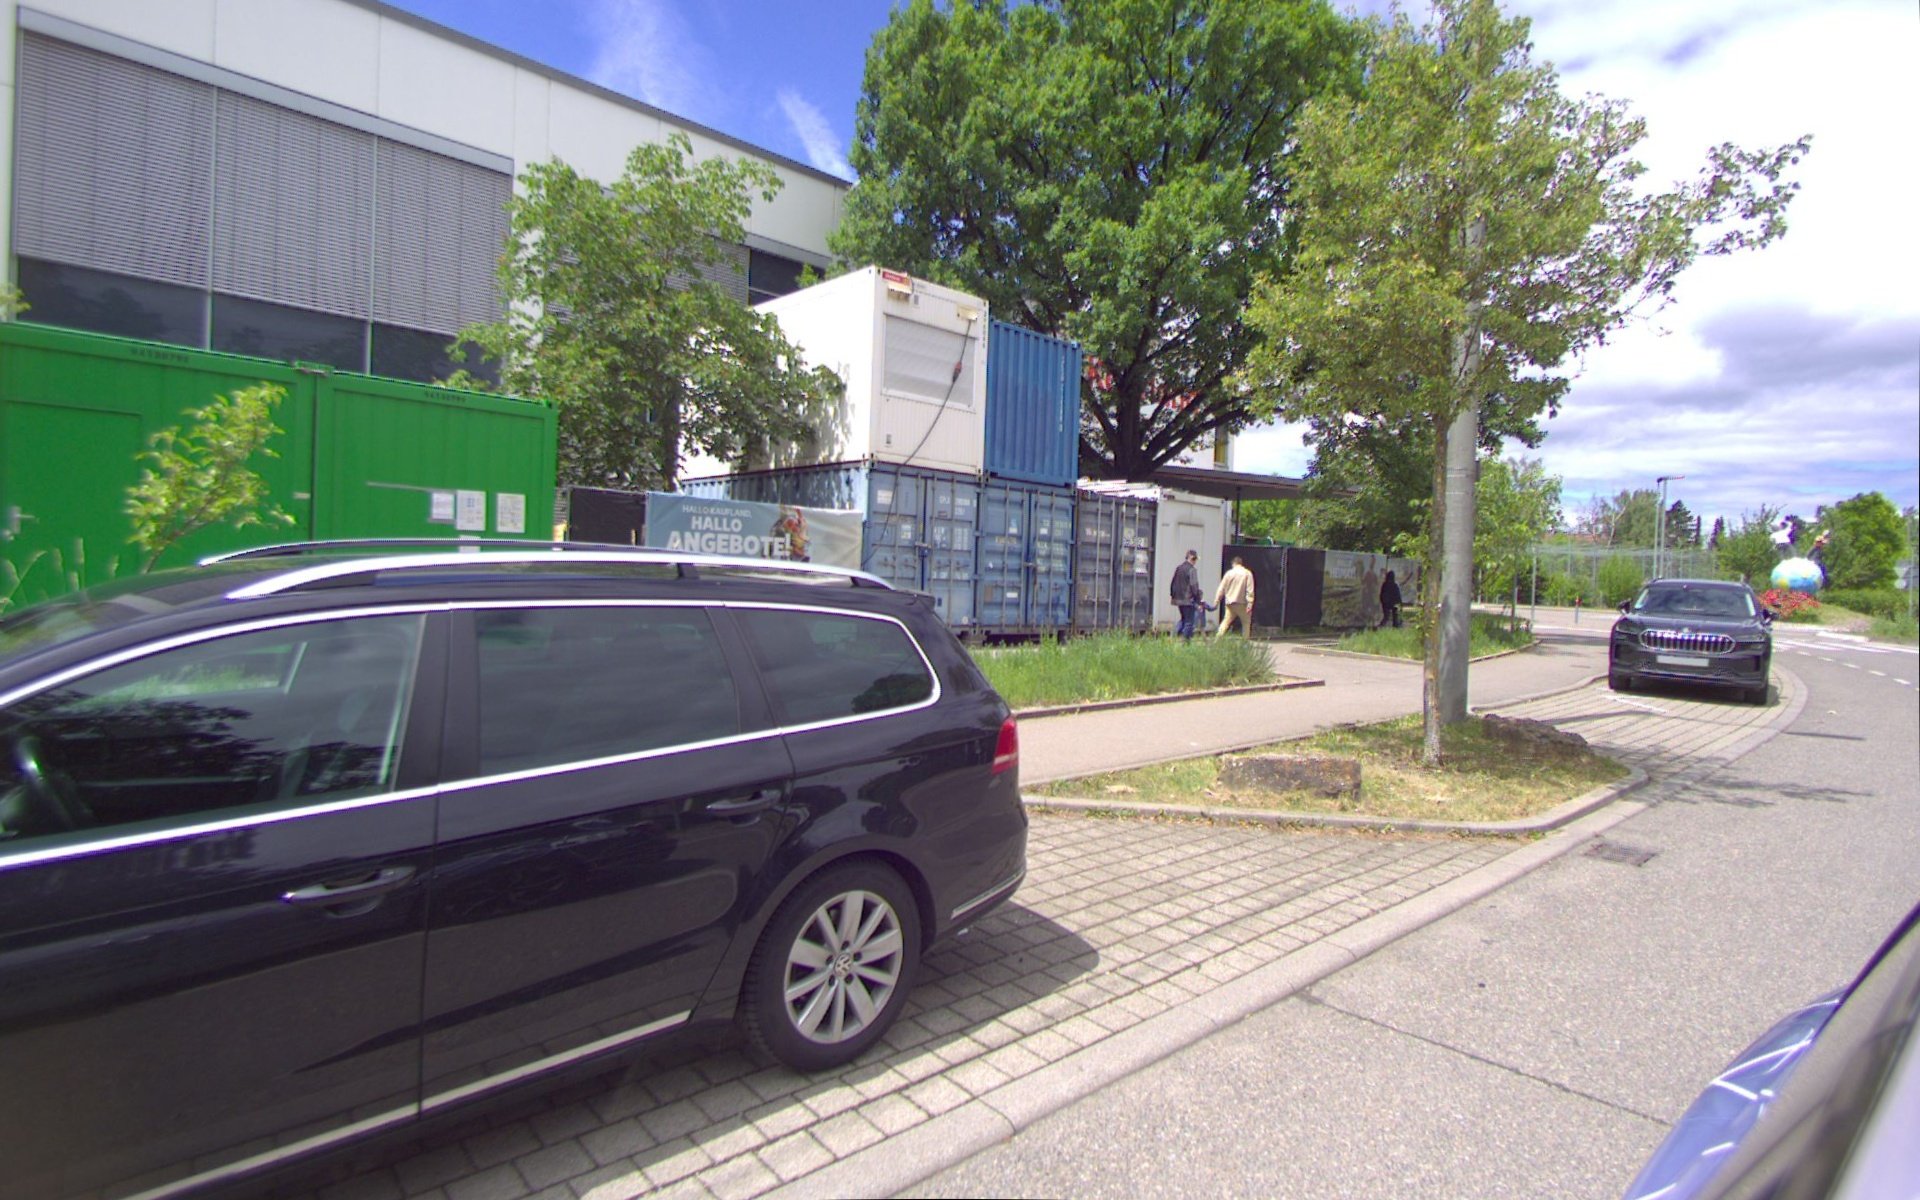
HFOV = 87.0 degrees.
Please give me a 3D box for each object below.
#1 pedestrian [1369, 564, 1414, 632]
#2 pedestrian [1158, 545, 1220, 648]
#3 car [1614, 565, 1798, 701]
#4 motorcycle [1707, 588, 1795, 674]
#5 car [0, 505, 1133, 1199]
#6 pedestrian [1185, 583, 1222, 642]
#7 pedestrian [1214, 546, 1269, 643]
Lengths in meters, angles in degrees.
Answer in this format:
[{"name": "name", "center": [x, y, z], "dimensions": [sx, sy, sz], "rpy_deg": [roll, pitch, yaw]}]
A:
[{"name": "pedestrian", "center": [10.619, -0.065, 24.883], "dimensions": [0.755, 1.638, 0.743], "rpy_deg": [0, 2, -43]}, {"name": "pedestrian", "center": [3.947, -0.070, 17.426], "dimensions": [0.830, 1.718, 0.652], "rpy_deg": [0, 2, -43]}, {"name": "car", "center": [11.331, 0.371, 15.277], "dimensions": [1.876, 1.641, 4.778], "rpy_deg": [5, 4, 39]}, {"name": "motorcycle", "center": [13.965, 0.498, 17.924], "dimensions": [1.069, 1.321, 2.230], "rpy_deg": [6, 4, 37]}, {"name": "car", "center": [-1.770, 0.546, 2.735], "dimensions": [4.852, 1.494, 1.768], "rpy_deg": [-1, 5, -43]}, {"name": "pedestrian", "center": [4.504, 0.222, 18.702], "dimensions": [0.557, 1.071, 0.412], "rpy_deg": [0, 2, -43]}, {"name": "pedestrian", "center": [5.154, -0.111, 18.539], "dimensions": [0.712, 1.717, 0.651], "rpy_deg": [0, 2, -43]}]
